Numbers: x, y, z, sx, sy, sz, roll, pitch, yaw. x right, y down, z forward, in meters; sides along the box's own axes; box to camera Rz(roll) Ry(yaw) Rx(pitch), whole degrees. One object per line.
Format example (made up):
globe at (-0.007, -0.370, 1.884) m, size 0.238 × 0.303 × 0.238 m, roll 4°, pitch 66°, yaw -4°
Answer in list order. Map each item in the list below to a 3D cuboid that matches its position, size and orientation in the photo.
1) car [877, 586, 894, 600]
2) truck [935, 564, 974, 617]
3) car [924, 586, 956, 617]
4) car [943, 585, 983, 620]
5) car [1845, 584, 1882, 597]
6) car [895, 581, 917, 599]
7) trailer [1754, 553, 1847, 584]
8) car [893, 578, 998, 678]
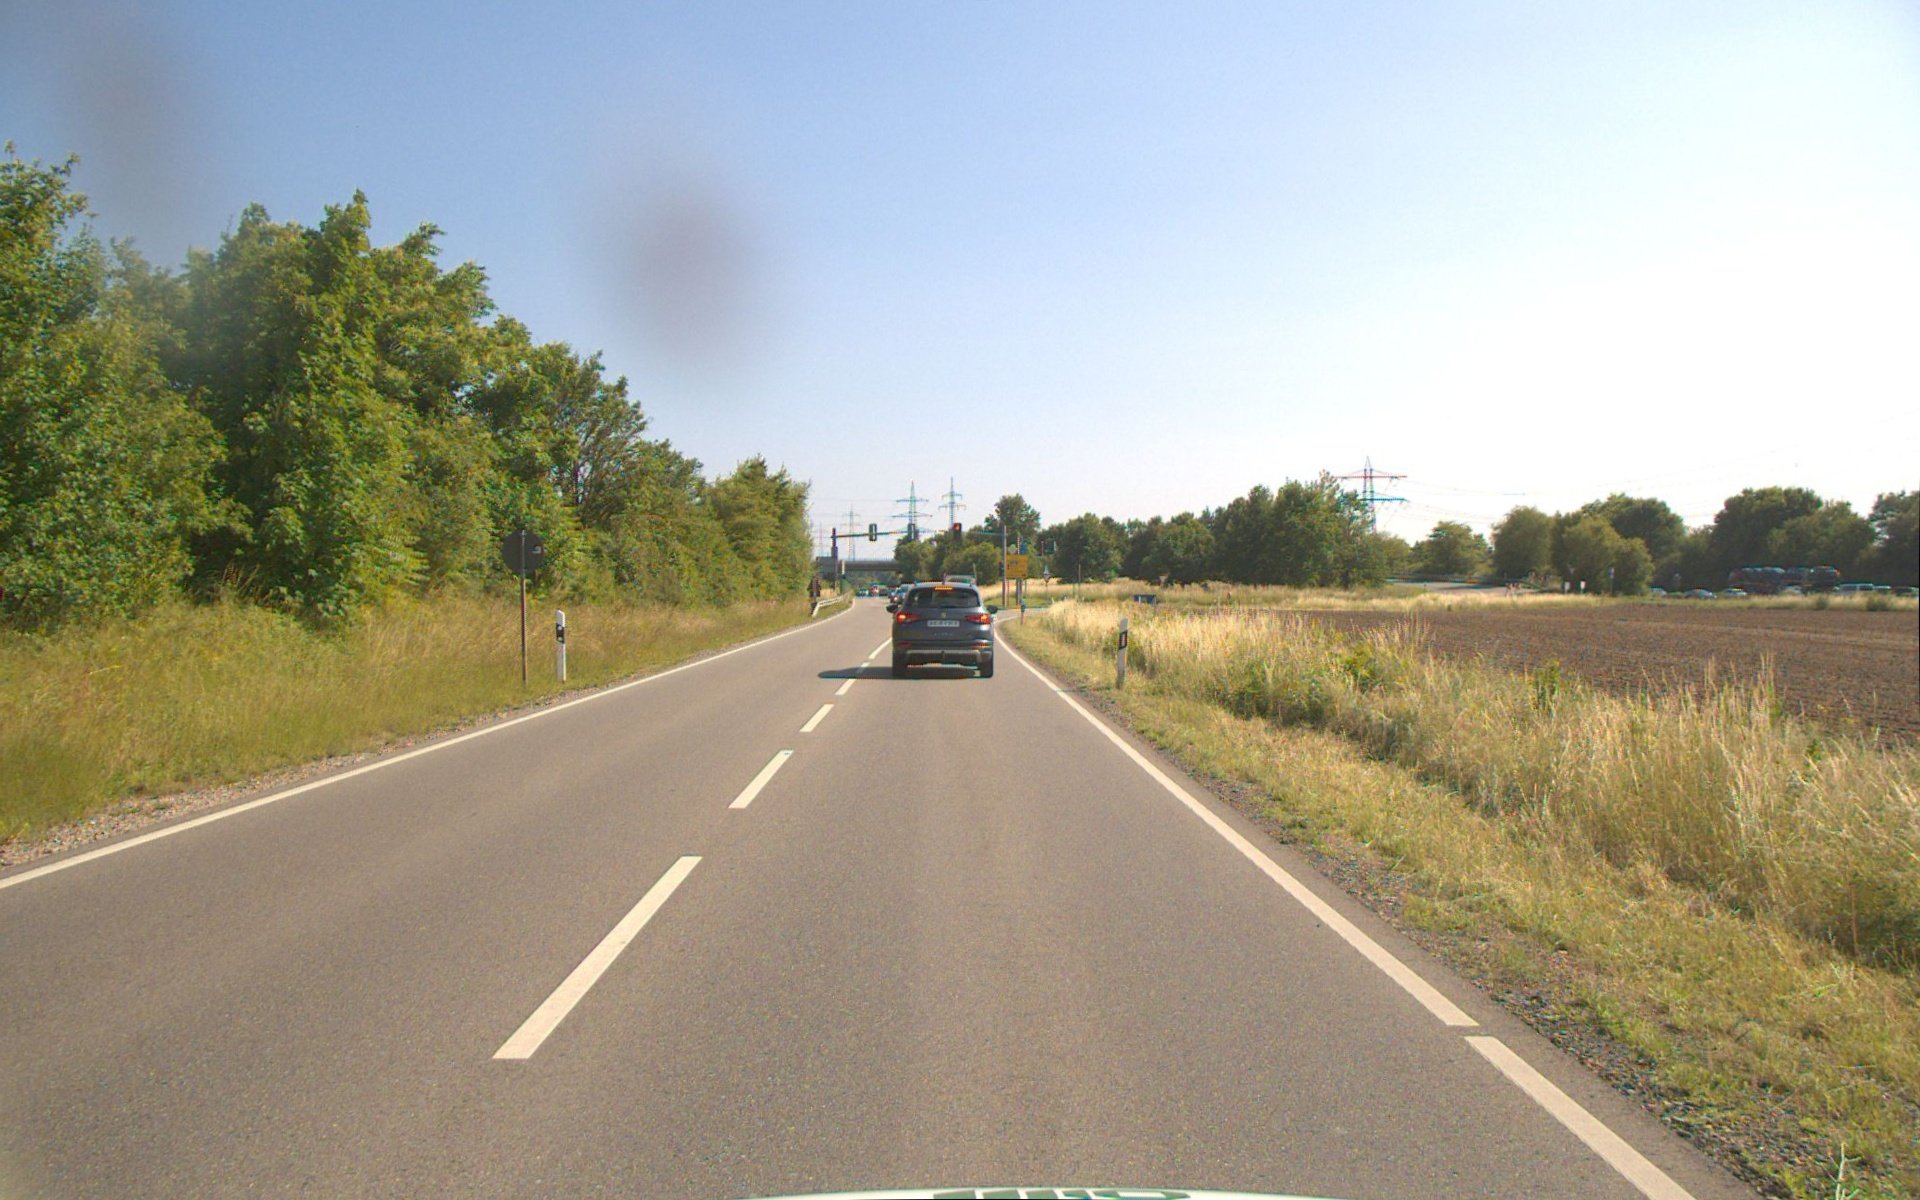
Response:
car at (-7.604, -0.722, 168.009) m, size 1.651 × 1.404 × 3.530 m, roll 1°, pitch 1°, yaw -4°
truck at (-0.315, -0.562, 102.110) m, size 2.289 × 3.119 × 5.809 m, roll 1°, pitch 0°, yaw 0°
car at (-1.152, 0.069, 93.033) m, size 1.749 × 1.705 × 3.999 m, roll 0°, pitch 1°, yaw -1°
car at (0.105, 0.089, 75.230) m, size 1.749 × 1.570 × 3.999 m, roll 0°, pitch 1°, yaw -1°
car at (89.176, -0.935, 163.297) m, size 1.633 × 1.167 × 3.731 m, roll 1°, pitch 0°, yaw -1°
car at (-4.863, -0.895, 148.133) m, size 1.780 × 1.567 × 3.996 m, roll 0°, pitch 1°, yaw -5°
trailer at (94.582, -3.555, 186.443) m, size 3.218 × 3.324 × 13.449 m, roll 0°, pitch 1°, yaw -2°
car at (-0.280, 0.434, 29.533) m, size 1.749 × 1.657 × 3.999 m, roll 0°, pitch 1°, yaw -1°
